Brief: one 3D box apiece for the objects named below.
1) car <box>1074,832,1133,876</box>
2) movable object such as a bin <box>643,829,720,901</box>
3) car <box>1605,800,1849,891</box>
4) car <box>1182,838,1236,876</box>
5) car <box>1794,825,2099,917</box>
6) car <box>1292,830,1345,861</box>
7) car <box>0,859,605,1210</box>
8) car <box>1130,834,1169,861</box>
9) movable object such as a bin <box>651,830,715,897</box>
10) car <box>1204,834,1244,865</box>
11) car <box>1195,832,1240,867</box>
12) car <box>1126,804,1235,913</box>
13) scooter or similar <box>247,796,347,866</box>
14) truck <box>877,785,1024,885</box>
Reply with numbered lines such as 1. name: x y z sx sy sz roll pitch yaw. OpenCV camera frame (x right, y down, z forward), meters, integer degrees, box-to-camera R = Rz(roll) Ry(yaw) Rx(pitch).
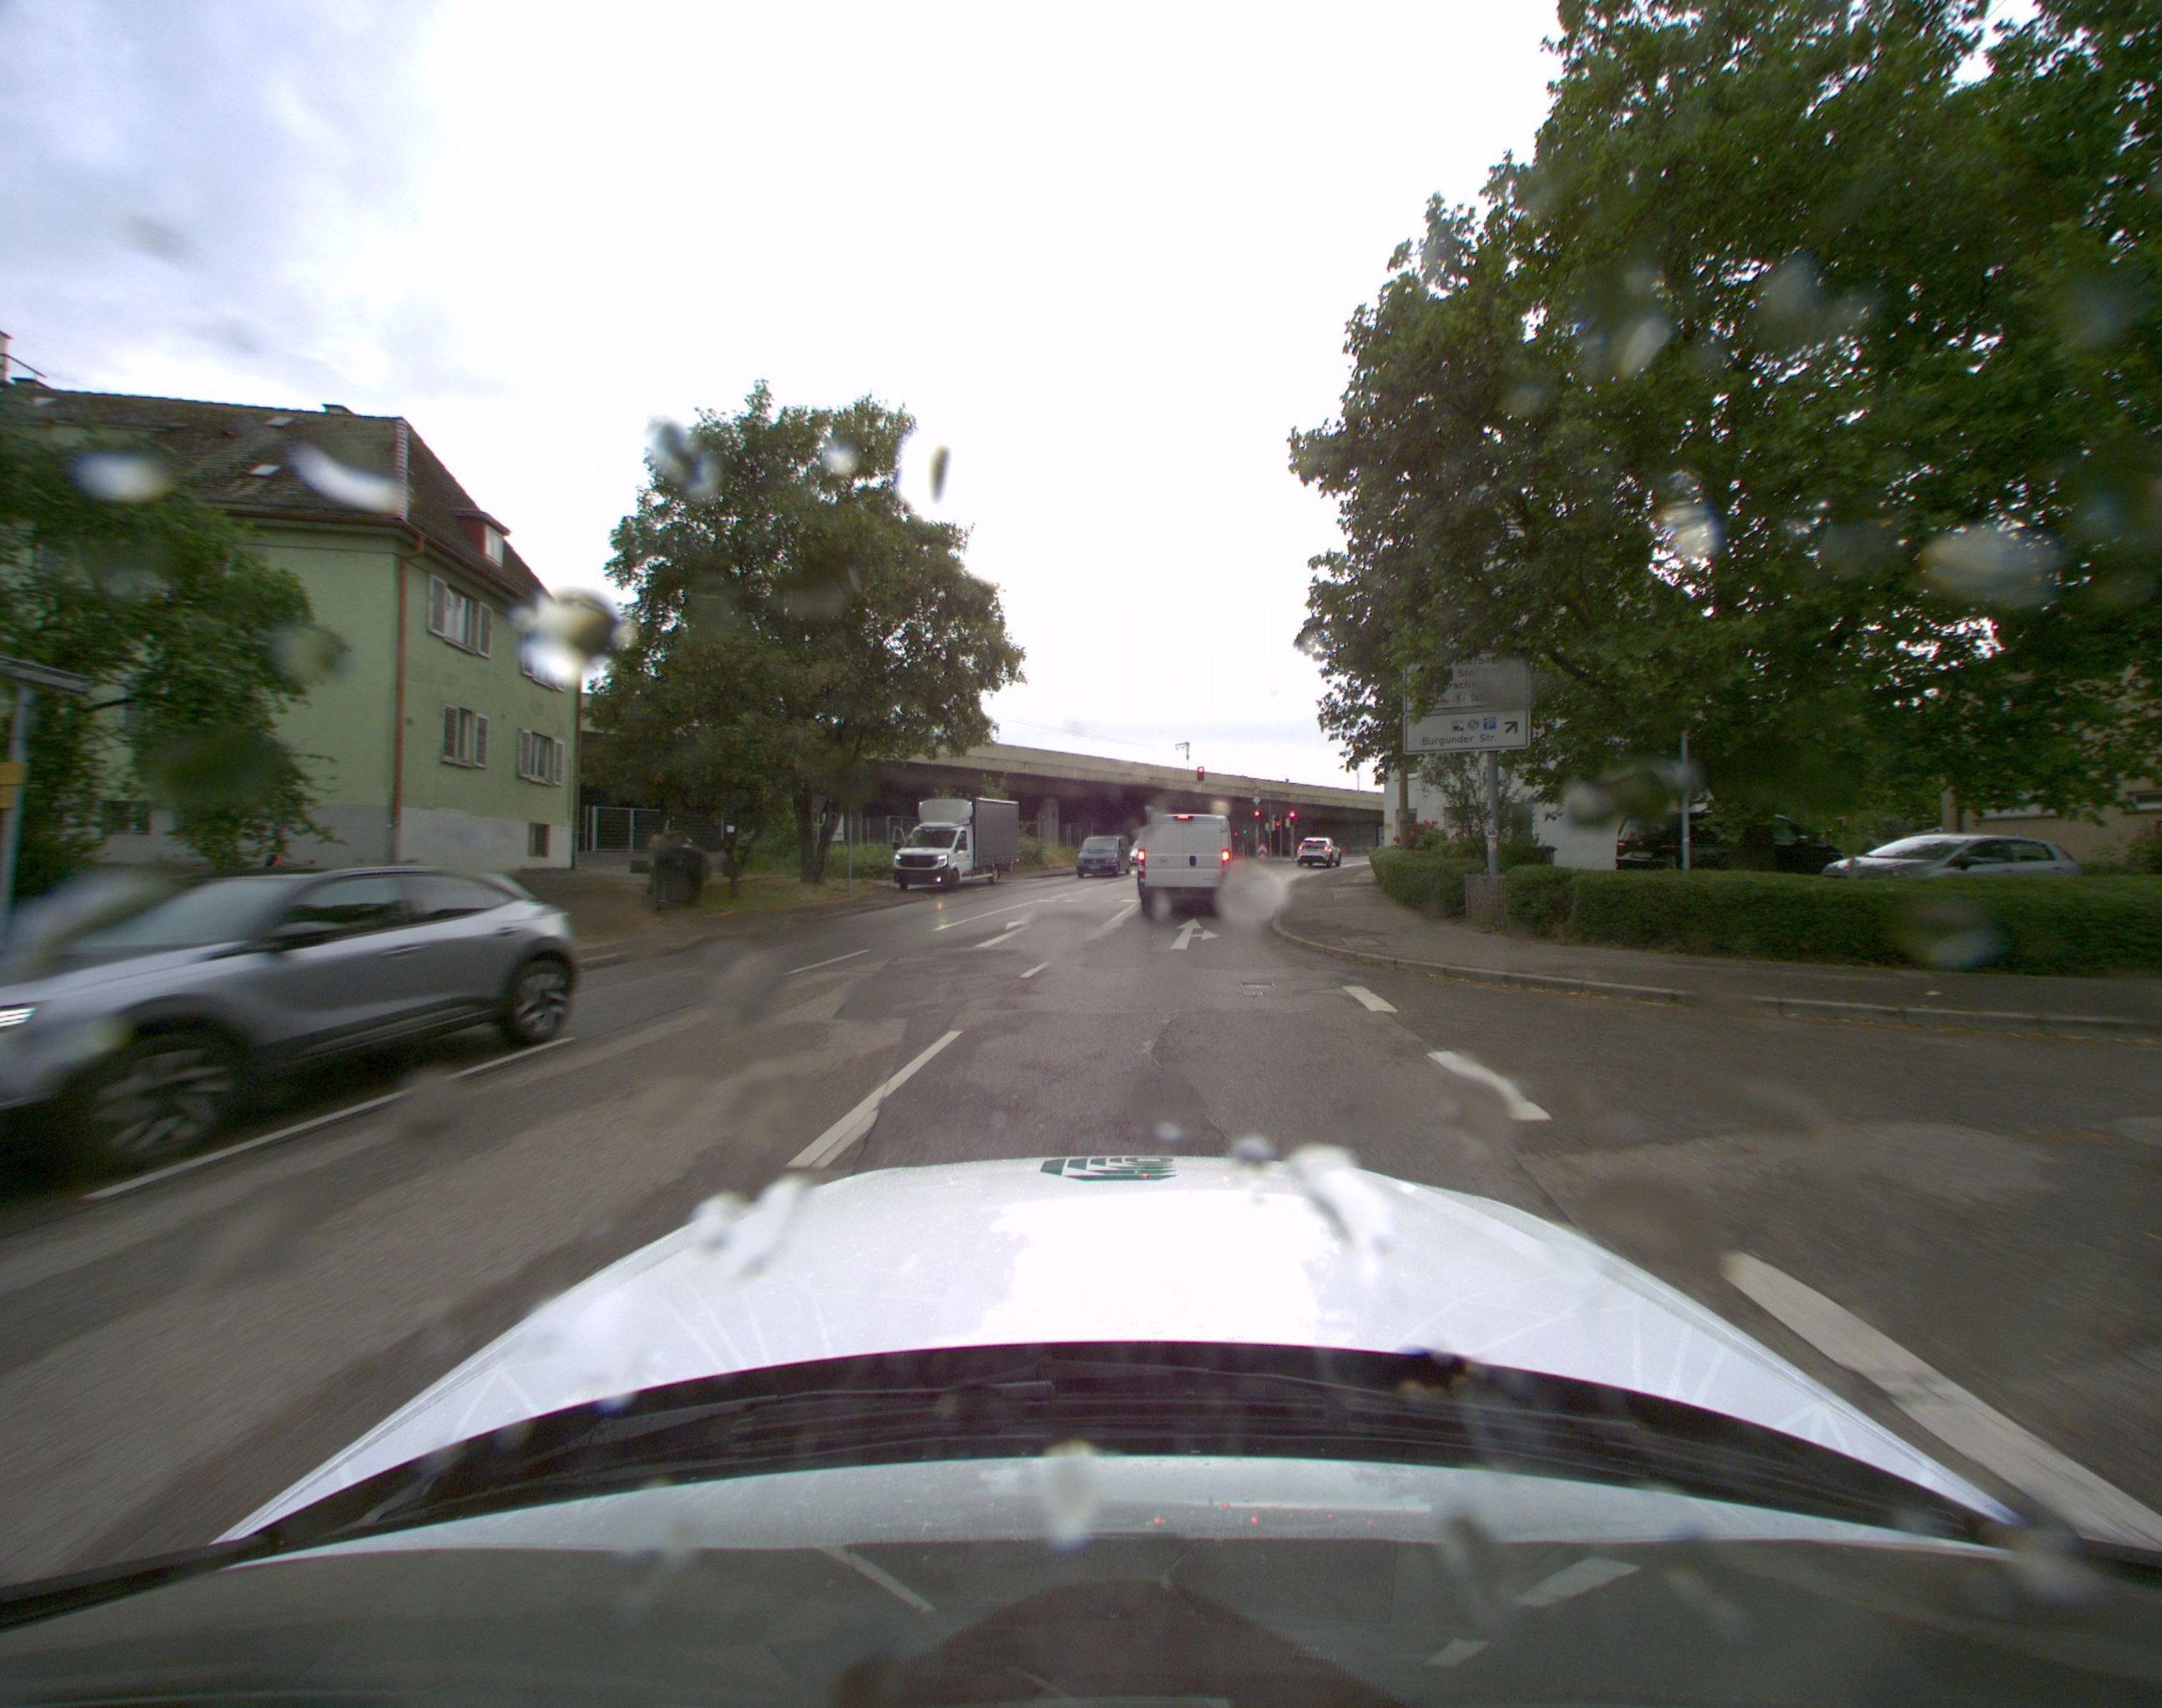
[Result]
1. car: 1.137 -0.037 38.187 1.944 1.931 4.699 0 1 12
2. movable object such as a bin: -9.072 0.240 18.475 1.299 1.437 1.448 3 4 -35
3. car: 14.836 -0.214 18.808 4.399 1.932 1.994 -1 1 -9
4. car: 5.485 0.100 34.529 1.980 1.513 4.014 0 0 13
5. car: 16.101 0.281 15.283 3.978 1.580 1.821 -1 1 -4
6. car: 12.792 -0.431 43.669 1.975 1.549 4.024 0 0 27
7. car: -5.471 0.809 5.487 1.886 1.461 4.006 -1 1 5
8. car: 4.446 -0.436 52.399 1.818 1.578 4.350 1 2 13
9. movable object such as a bin: -9.689 0.231 19.806 1.105 1.437 1.448 3 4 -35
10. car: 8.488 -0.256 48.046 1.979 1.728 4.016 0 0 15
11. car: 7.112 -0.241 42.082 1.979 1.728 4.015 0 0 14
12. car: 2.624 0.017 20.192 2.290 2.343 5.299 0 2 11
13. scooter or similar: -15.656 -0.453 16.267 1.512 1.273 0.531 4 0 6
14. truck: -4.572 -0.667 30.597 2.592 3.236 7.806 0 1 14
